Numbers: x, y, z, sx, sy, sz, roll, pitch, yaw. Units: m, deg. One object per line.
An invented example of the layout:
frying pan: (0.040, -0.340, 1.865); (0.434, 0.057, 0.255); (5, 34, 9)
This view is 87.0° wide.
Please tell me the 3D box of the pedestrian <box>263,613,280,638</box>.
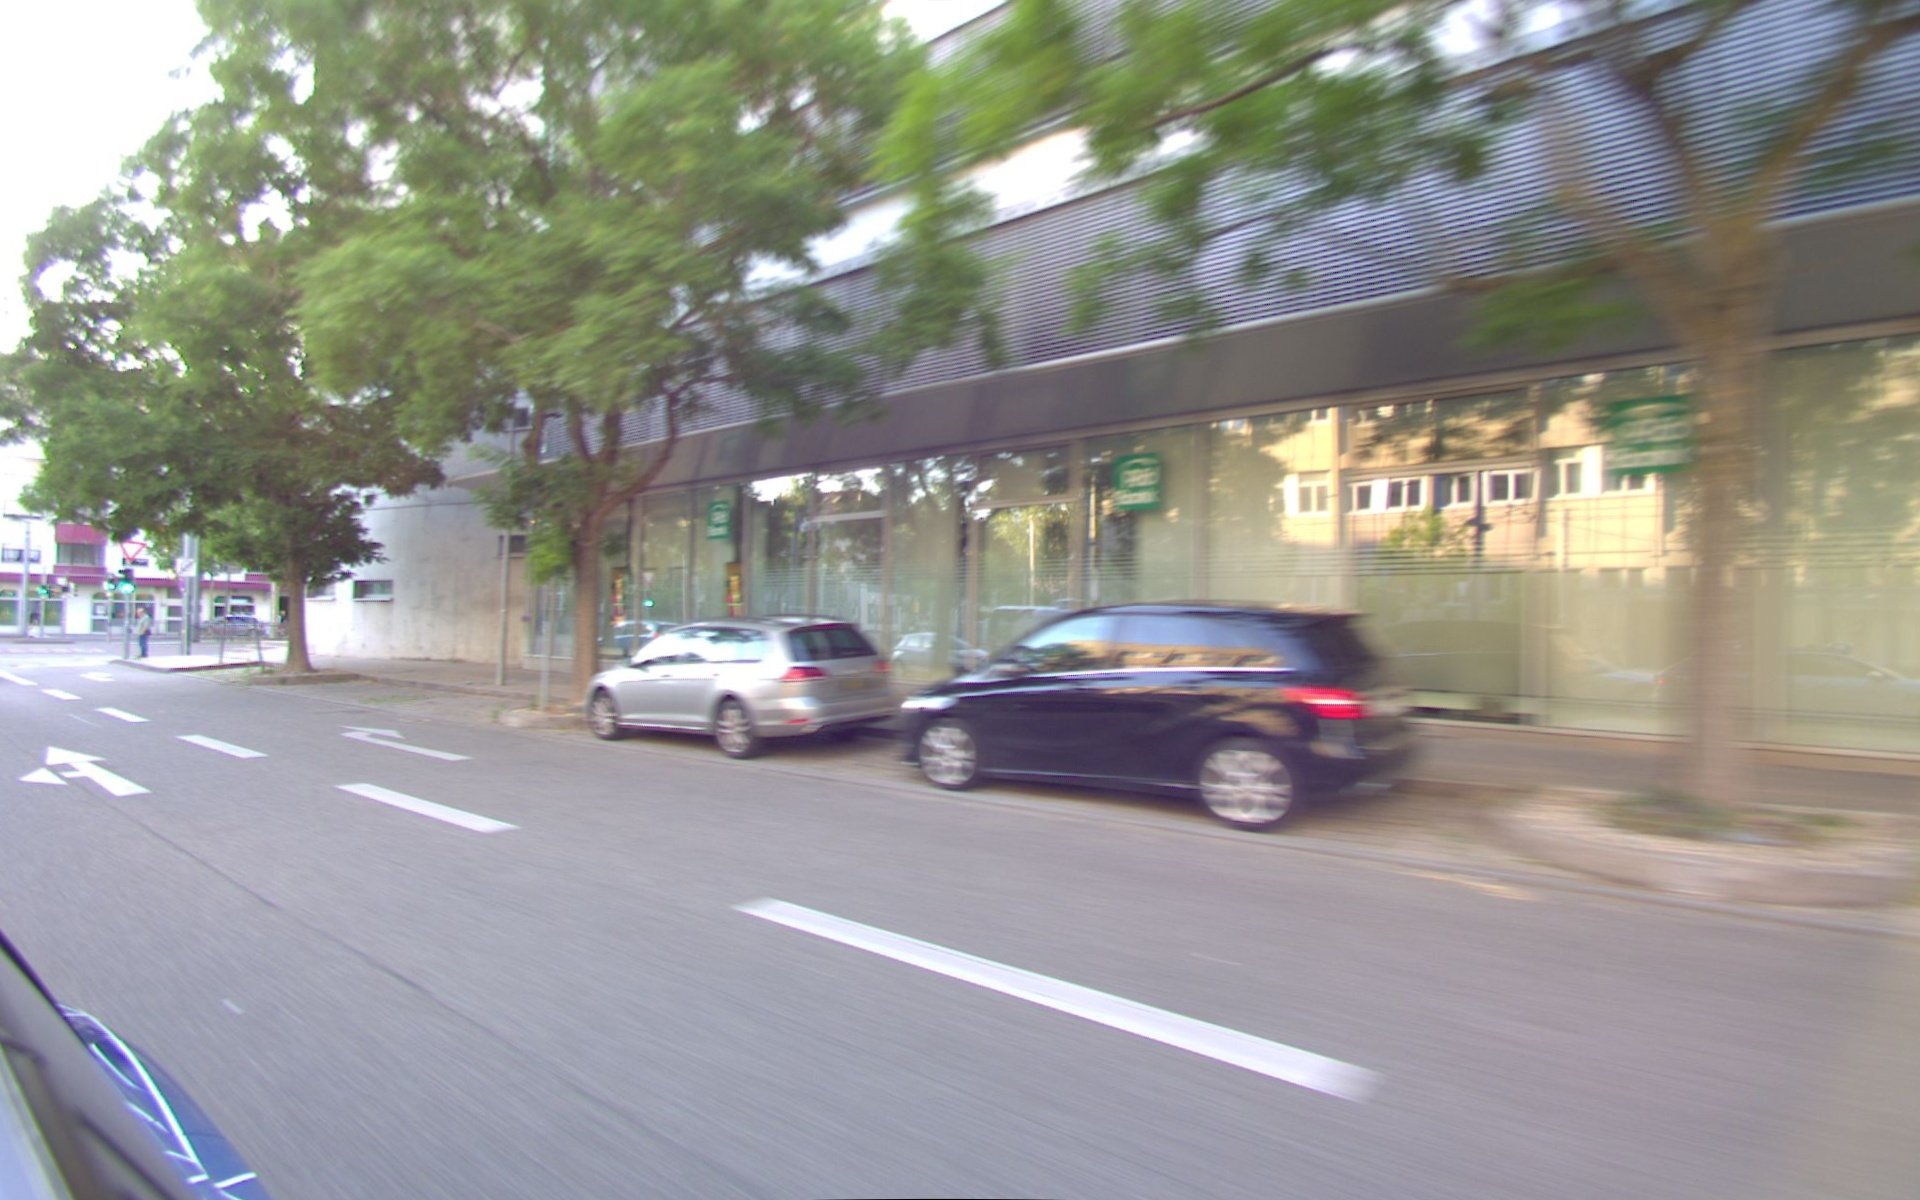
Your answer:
pedestrian: (-49.525, 1.828, 72.821); (0.691, 1.820, 0.824); (-1, -2, 42)

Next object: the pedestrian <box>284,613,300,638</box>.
pedestrian: (-48.913, 1.853, 74.101); (0.691, 1.820, 0.824); (-1, -2, 42)

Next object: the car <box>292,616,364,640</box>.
car: (-45.741, 2.035, 73.295); (1.665, 1.608, 4.046); (-1, -2, 41)

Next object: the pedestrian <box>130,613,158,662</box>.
pedestrian: (-28.760, 1.315, 35.673); (0.537, 1.714, 0.710); (2, -2, -22)

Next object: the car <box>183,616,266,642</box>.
car: (-47.753, 1.883, 65.768); (1.665, 1.608, 4.046); (-1, -2, 41)

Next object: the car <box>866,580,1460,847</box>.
car: (1.375, 0.696, 8.117); (4.469, 1.580, 1.573); (-1, 1, 41)

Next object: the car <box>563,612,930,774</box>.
car: (-2.627, 0.910, 11.680); (4.624, 1.472, 1.686); (-1, 1, 41)
